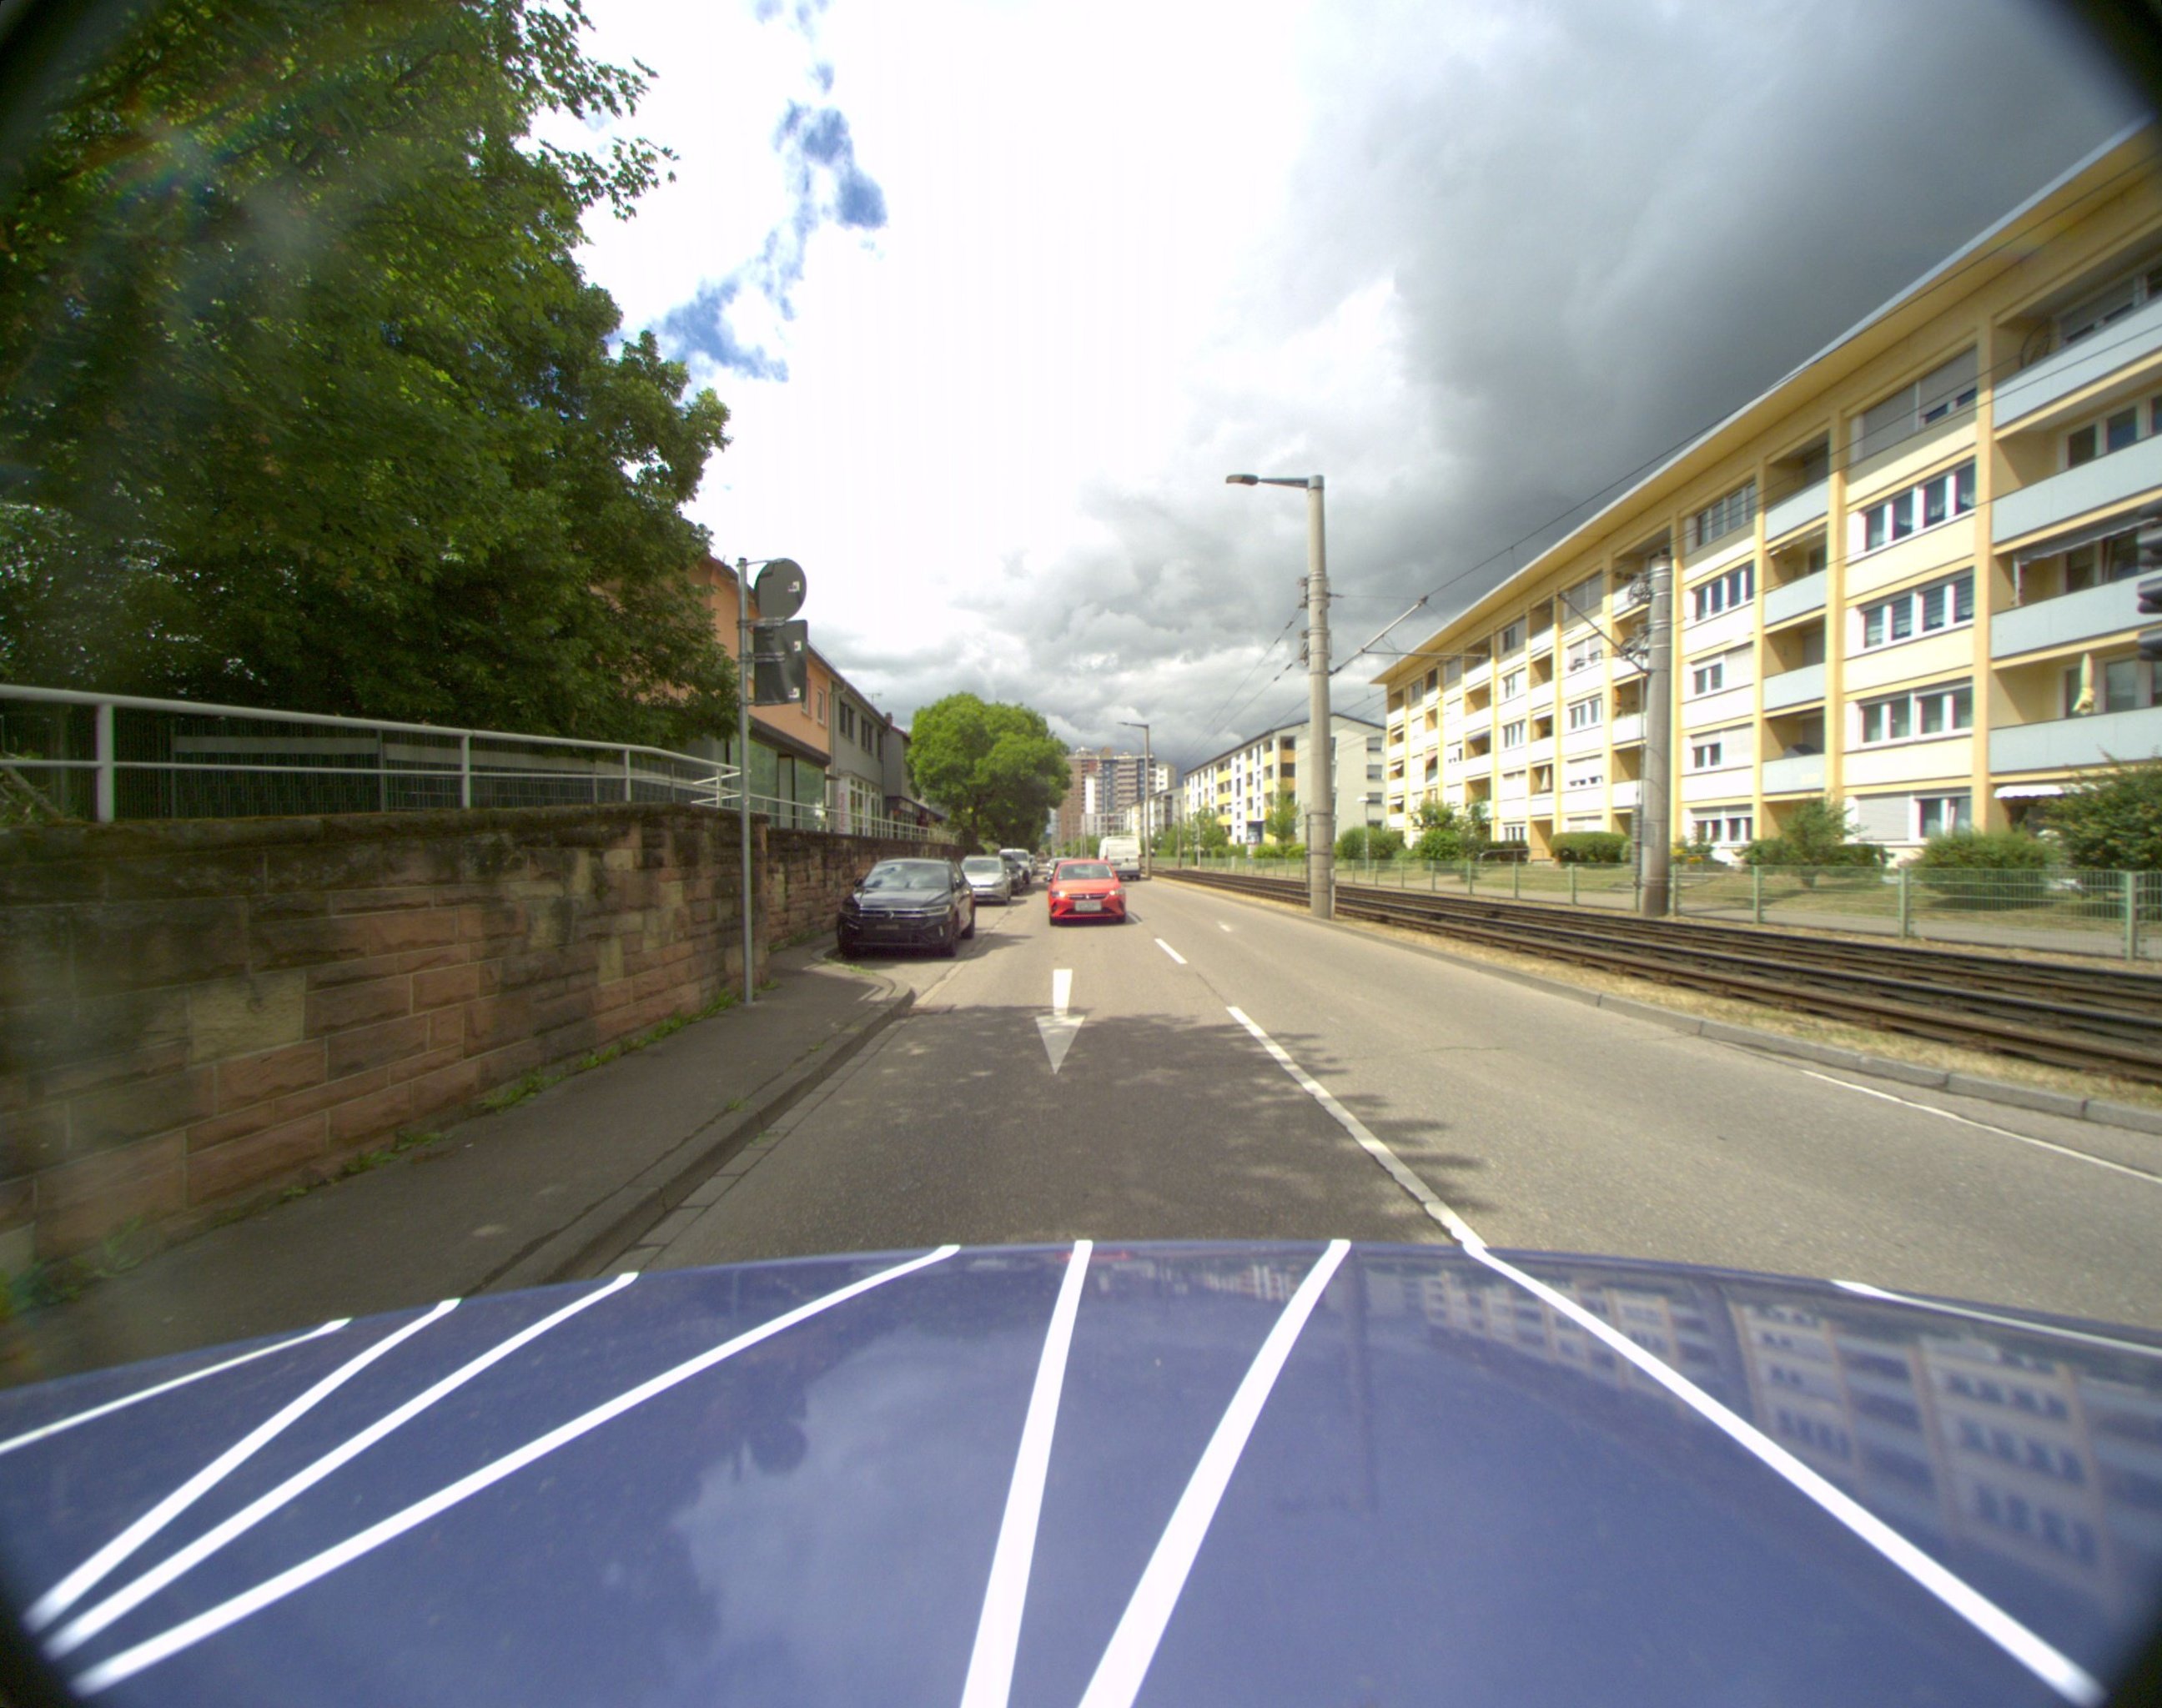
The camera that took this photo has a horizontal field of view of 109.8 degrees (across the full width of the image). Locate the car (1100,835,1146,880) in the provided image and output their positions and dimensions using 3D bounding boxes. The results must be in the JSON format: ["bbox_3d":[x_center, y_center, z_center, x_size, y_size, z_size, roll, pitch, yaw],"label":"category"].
[{"bbox_3d":[2.309,0.165,43.337,2.237,2.460,5.085,0,1,-2],"label":"car"}]

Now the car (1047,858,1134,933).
[{"bbox_3d":[0.142,0.890,18.102,1.783,1.434,4.130,-3,1,-2],"label":"car"}]

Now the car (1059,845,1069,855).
[{"bbox_3d":[-3.834,-0.887,168.916,2.237,2.051,4.360,0,1,-2],"label":"car"}]

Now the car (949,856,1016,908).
[{"bbox_3d":[-3.150,0.856,25.087,1.760,1.559,4.174,1,0,-2],"label":"car"}]

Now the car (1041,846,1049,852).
[{"bbox_3d":[-10.483,-1.452,221.846,2.441,1.717,5.482,0,1,-2],"label":"car"}]

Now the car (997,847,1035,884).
[{"bbox_3d":[-3.654,0.593,43.279,1.854,1.997,4.968,0,1,-2],"label":"car"}]

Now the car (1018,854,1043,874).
[{"bbox_3d":[-4.047,0.797,61.405,1.854,1.508,4.810,0,1,-2],"label":"car"}]

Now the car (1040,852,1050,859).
[{"bbox_3d":[-9.890,0.421,208.279,2.441,1.717,5.482,0,1,-2],"label":"car"}]

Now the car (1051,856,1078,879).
[{"bbox_3d":[-1.040,0.839,49.195,1.639,1.346,3.999,-3,1,0],"label":"car"}]

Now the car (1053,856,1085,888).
[{"bbox_3d":[-0.614,0.852,37.287,1.499,1.477,3.519,0,1,-2],"label":"car"}]

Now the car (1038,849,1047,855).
[{"bbox_3d":[-11.606,-0.735,228.604,2.441,1.717,5.482,0,1,-2],"label":"car"}]

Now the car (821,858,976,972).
[{"bbox_3d":[-2.880,0.882,12.887,1.760,1.570,4.021,0,1,-2],"label":"car"}]

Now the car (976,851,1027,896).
[{"bbox_3d":[-3.204,0.751,31.244,1.760,1.706,3.999,0,1,-2],"label":"car"}]
